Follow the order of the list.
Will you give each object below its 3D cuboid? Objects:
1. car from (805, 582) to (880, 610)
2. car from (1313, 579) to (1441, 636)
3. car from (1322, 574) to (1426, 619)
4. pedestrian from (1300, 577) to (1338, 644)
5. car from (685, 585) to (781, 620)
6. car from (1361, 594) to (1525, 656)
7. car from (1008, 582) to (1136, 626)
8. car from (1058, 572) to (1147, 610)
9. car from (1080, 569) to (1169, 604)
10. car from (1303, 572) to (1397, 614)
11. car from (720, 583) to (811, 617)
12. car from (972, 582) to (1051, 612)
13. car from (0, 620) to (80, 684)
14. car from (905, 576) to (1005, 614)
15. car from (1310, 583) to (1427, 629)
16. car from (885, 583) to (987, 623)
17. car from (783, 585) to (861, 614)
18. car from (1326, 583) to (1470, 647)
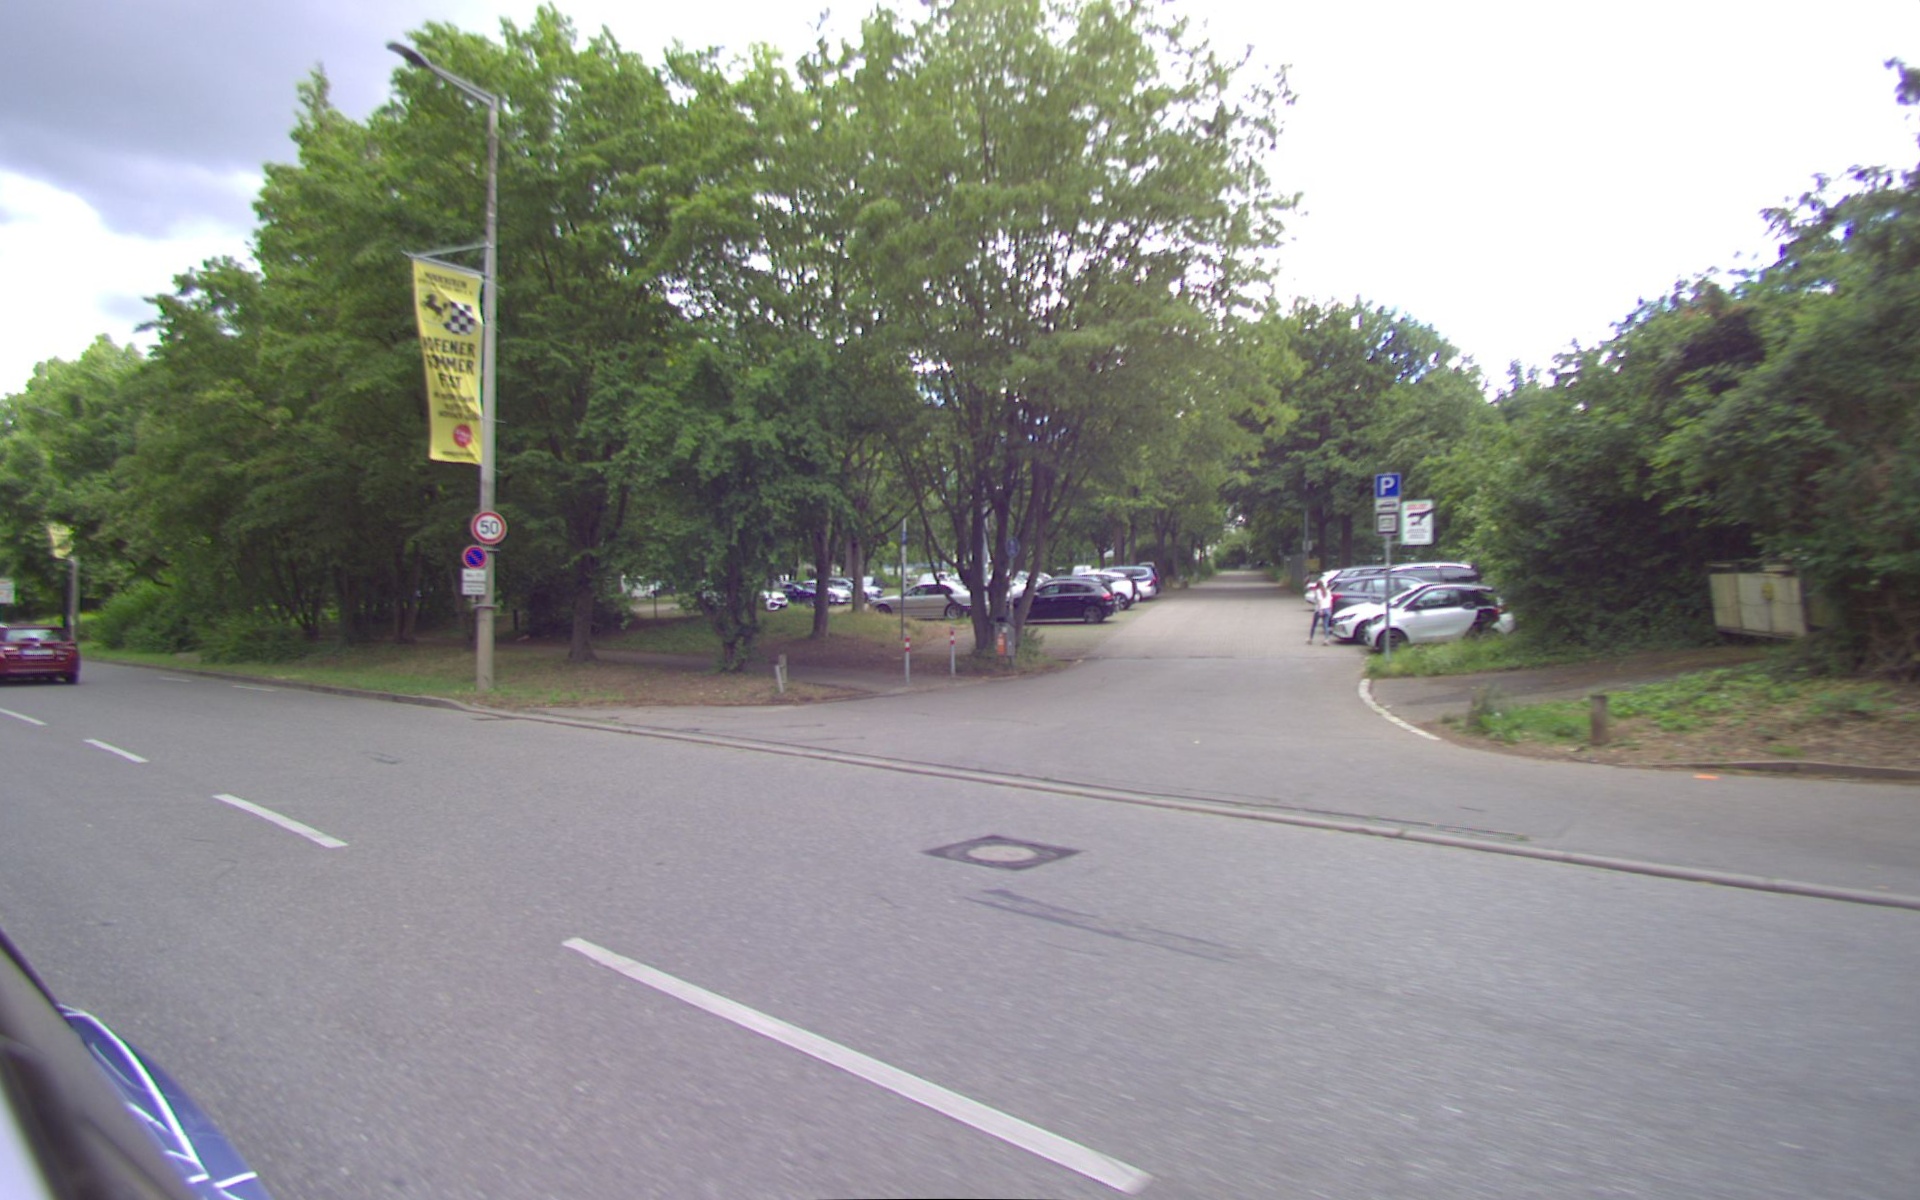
[{"bbox_3d":[-6.793,-0.211,58.420,3.966,1.497,1.642,-1,0,17],"label":"car"},{"bbox_3d":[11.124,0.198,27.181,3.047,1.412,1.367,-1,1,20],"label":"car"},{"bbox_3d":[13.494,-0.130,33.151,3.047,1.371,1.259,-1,1,20],"label":"car"},{"bbox_3d":[8.770,0.259,24.740,0.824,1.623,0.467,-1,0,19],"label":"pedestrian"},{"bbox_3d":[-10.327,0.119,45.997,3.966,1.497,1.642,-1,0,17],"label":"car"},{"bbox_3d":[10.447,0.535,22.088,3.047,1.247,1.367,-1,1,20],"label":"car"},{"bbox_3d":[3.784,0.149,34.236,4.092,1.350,1.433,-1,1,20],"label":"car"},{"bbox_3d":[5.830,-0.375,41.354,3.353,1.425,1.530,-1,1,20],"label":"car"},{"bbox_3d":[7.820,-0.627,48.031,3.966,1.497,1.642,-1,0,17],"label":"car"},{"bbox_3d":[13.738,-0.261,35.791,3.047,1.378,1.259,-1,1,20],"label":"car"},{"bbox_3d":[-9.372,0.015,48.791,3.966,1.497,1.642,-1,0,17],"label":"car"},{"bbox_3d":[2.520,-0.148,49.380,3.553,1.363,1.641,-1,1,14],"label":"car"},{"bbox_3d":[-22.756,1.211,24.279,4.191,1.439,1.700,-1,-3,39],"label":"car"},{"bbox_3d":[-0.209,-0.202,43.027,3.966,1.497,1.642,-1,0,17],"label":"car"},{"bbox_3d":[11.826,0.170,29.445,3.047,1.221,1.259,-1,1,20],"label":"car"},{"bbox_3d":[-0.890,0.114,38.305,3.553,1.390,1.641,-1,1,14],"label":"car"},{"bbox_3d":[-7.578,-0.006,55.633,3.966,1.497,1.642,-1,0,17],"label":"car"},{"bbox_3d":[10.434,0.358,24.306,3.047,1.412,1.367,-1,1,20],"label":"car"}]
